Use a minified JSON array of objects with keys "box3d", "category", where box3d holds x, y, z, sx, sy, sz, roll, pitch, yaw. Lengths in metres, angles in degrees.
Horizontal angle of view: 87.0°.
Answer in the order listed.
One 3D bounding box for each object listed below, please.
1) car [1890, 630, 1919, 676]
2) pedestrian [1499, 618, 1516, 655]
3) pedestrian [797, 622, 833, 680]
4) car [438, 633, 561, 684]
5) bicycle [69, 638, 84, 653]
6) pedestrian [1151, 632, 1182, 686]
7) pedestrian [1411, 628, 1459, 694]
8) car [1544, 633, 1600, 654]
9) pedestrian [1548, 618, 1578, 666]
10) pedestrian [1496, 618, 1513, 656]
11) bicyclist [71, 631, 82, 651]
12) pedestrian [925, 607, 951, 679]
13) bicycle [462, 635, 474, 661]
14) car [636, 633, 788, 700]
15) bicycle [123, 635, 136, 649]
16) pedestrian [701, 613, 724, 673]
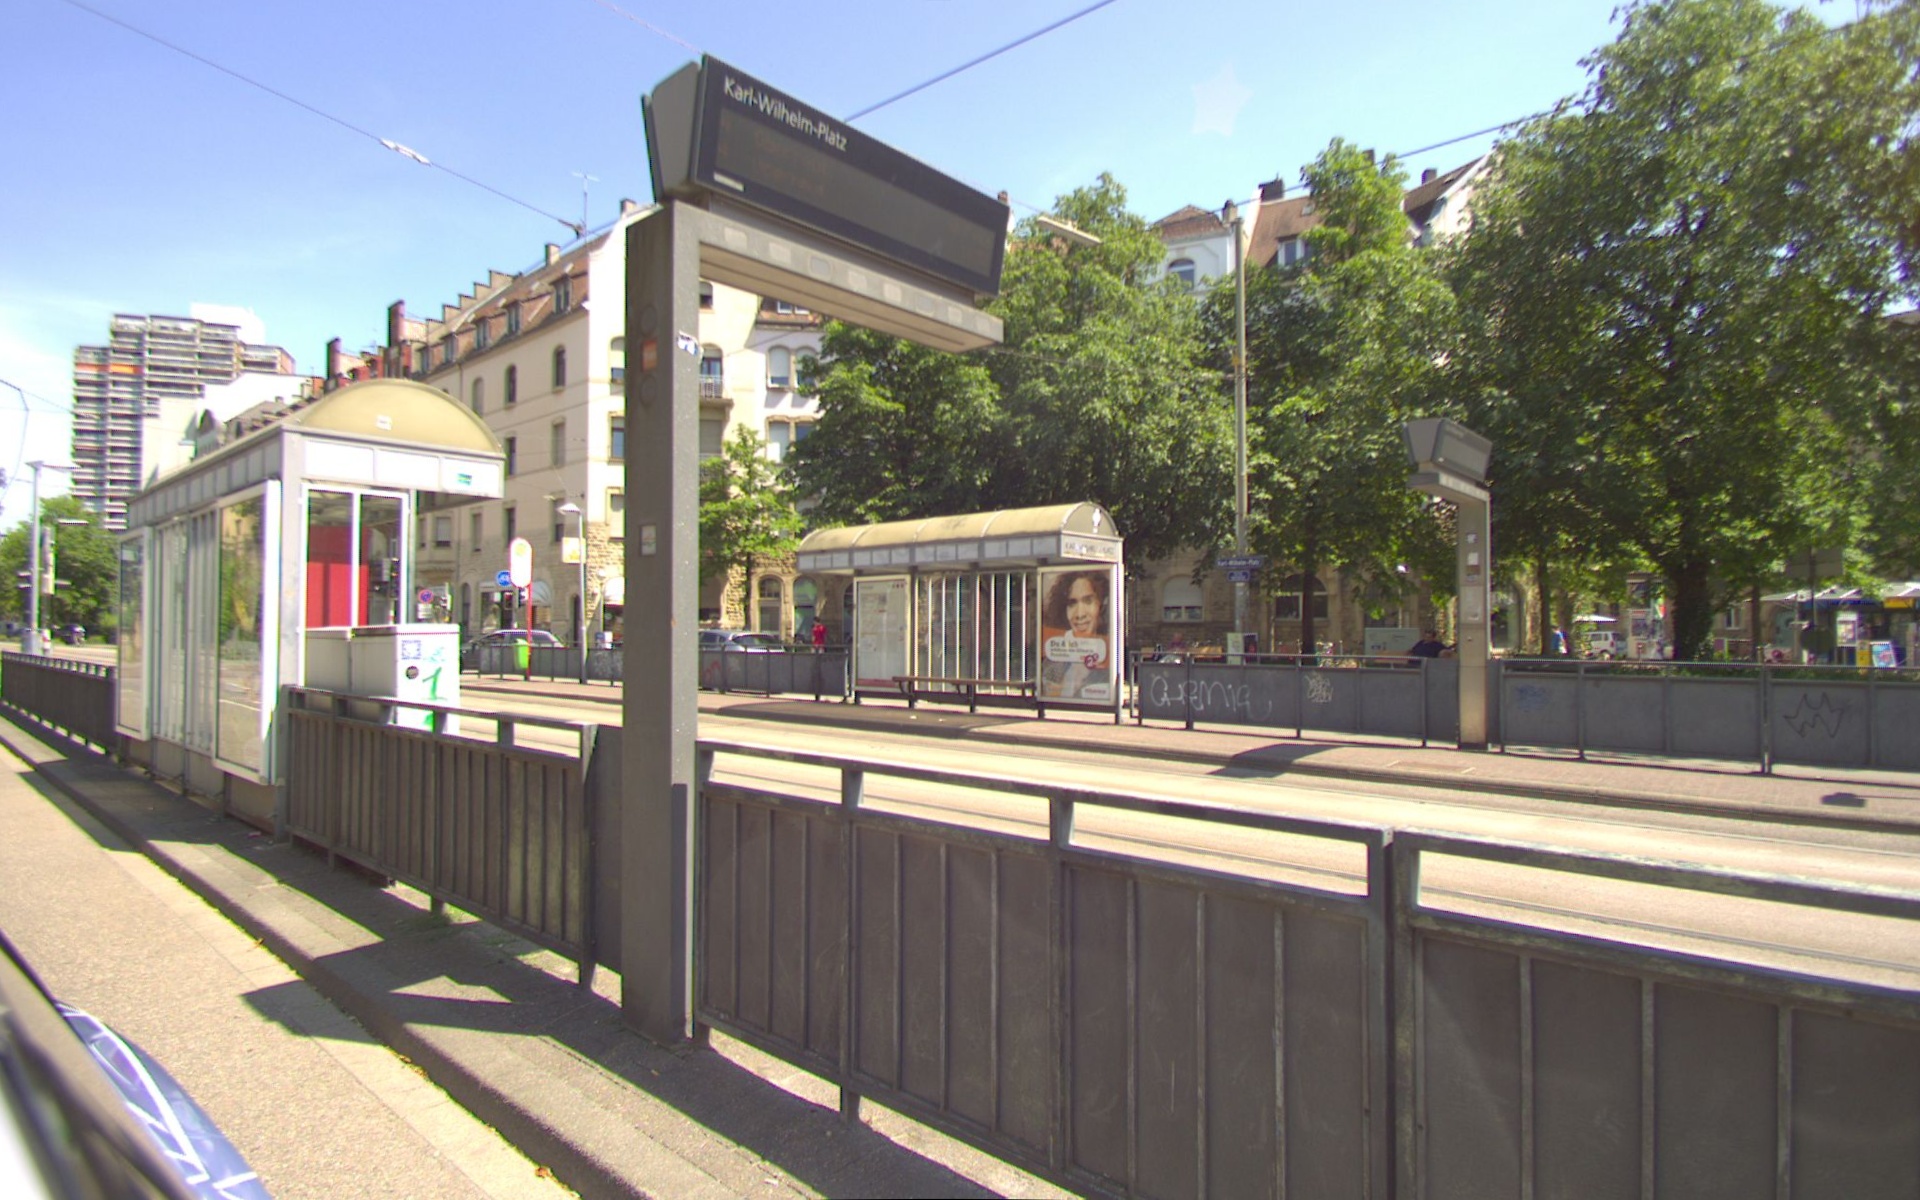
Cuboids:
[{"box3d":[32.161,1.695,32.848,3.676,1.453,1.546,0,-1,-24],"category":"car"},{"box3d":[24.595,1.646,45.443,0.560,1.635,0.507,-1,-1,41],"category":"pedestrian"},{"box3d":[-4.128,1.443,28.815,0.772,1.618,0.673,-1,-1,38],"category":"pedestrian"},{"box3d":[-15.144,1.903,33.449,3.526,1.587,1.587,0,-1,-17],"category":"car"},{"box3d":[-70.316,3.605,80.535,1.977,1.166,0.621,-2,-2,42],"category":"bicycle"},{"box3d":[4.958,1.404,24.338,0.637,1.265,0.549,0,-1,2],"category":"pedestrian"},{"box3d":[9.455,1.202,20.163,0.637,1.297,0.618,0,-1,2],"category":"pedestrian"},{"box3d":[26.485,1.880,43.848,1.899,0.872,0.856,0,-1,17],"category":"car"},{"box3d":[22.495,1.546,37.745,0.606,1.764,0.719,0,-1,-25],"category":"pedestrian"},{"box3d":[24.226,1.640,45.023,0.526,1.635,0.491,-1,-1,41],"category":"pedestrian"},{"box3d":[-70.330,3.266,80.574,0.585,1.586,0.602,-1,-1,41],"category":"bicyclist"},{"box3d":[-0.586,1.146,26.988,0.504,1.893,0.494,1,-2,-44],"category":"pedestrian"},{"box3d":[-24.190,2.330,49.733,0.447,1.234,2.086,0,-1,-29],"category":"bicycle"},{"box3d":[-5.738,1.474,23.250,3.716,1.349,1.525,-1,-1,40],"category":"car"},{"box3d":[-66.716,3.407,81.330,2.046,1.105,0.487,-2,-2,42],"category":"bicycle"},{"box3d":[-7.661,1.325,31.287,0.494,1.836,0.505,-1,-2,43],"category":"pedestrian"}]
